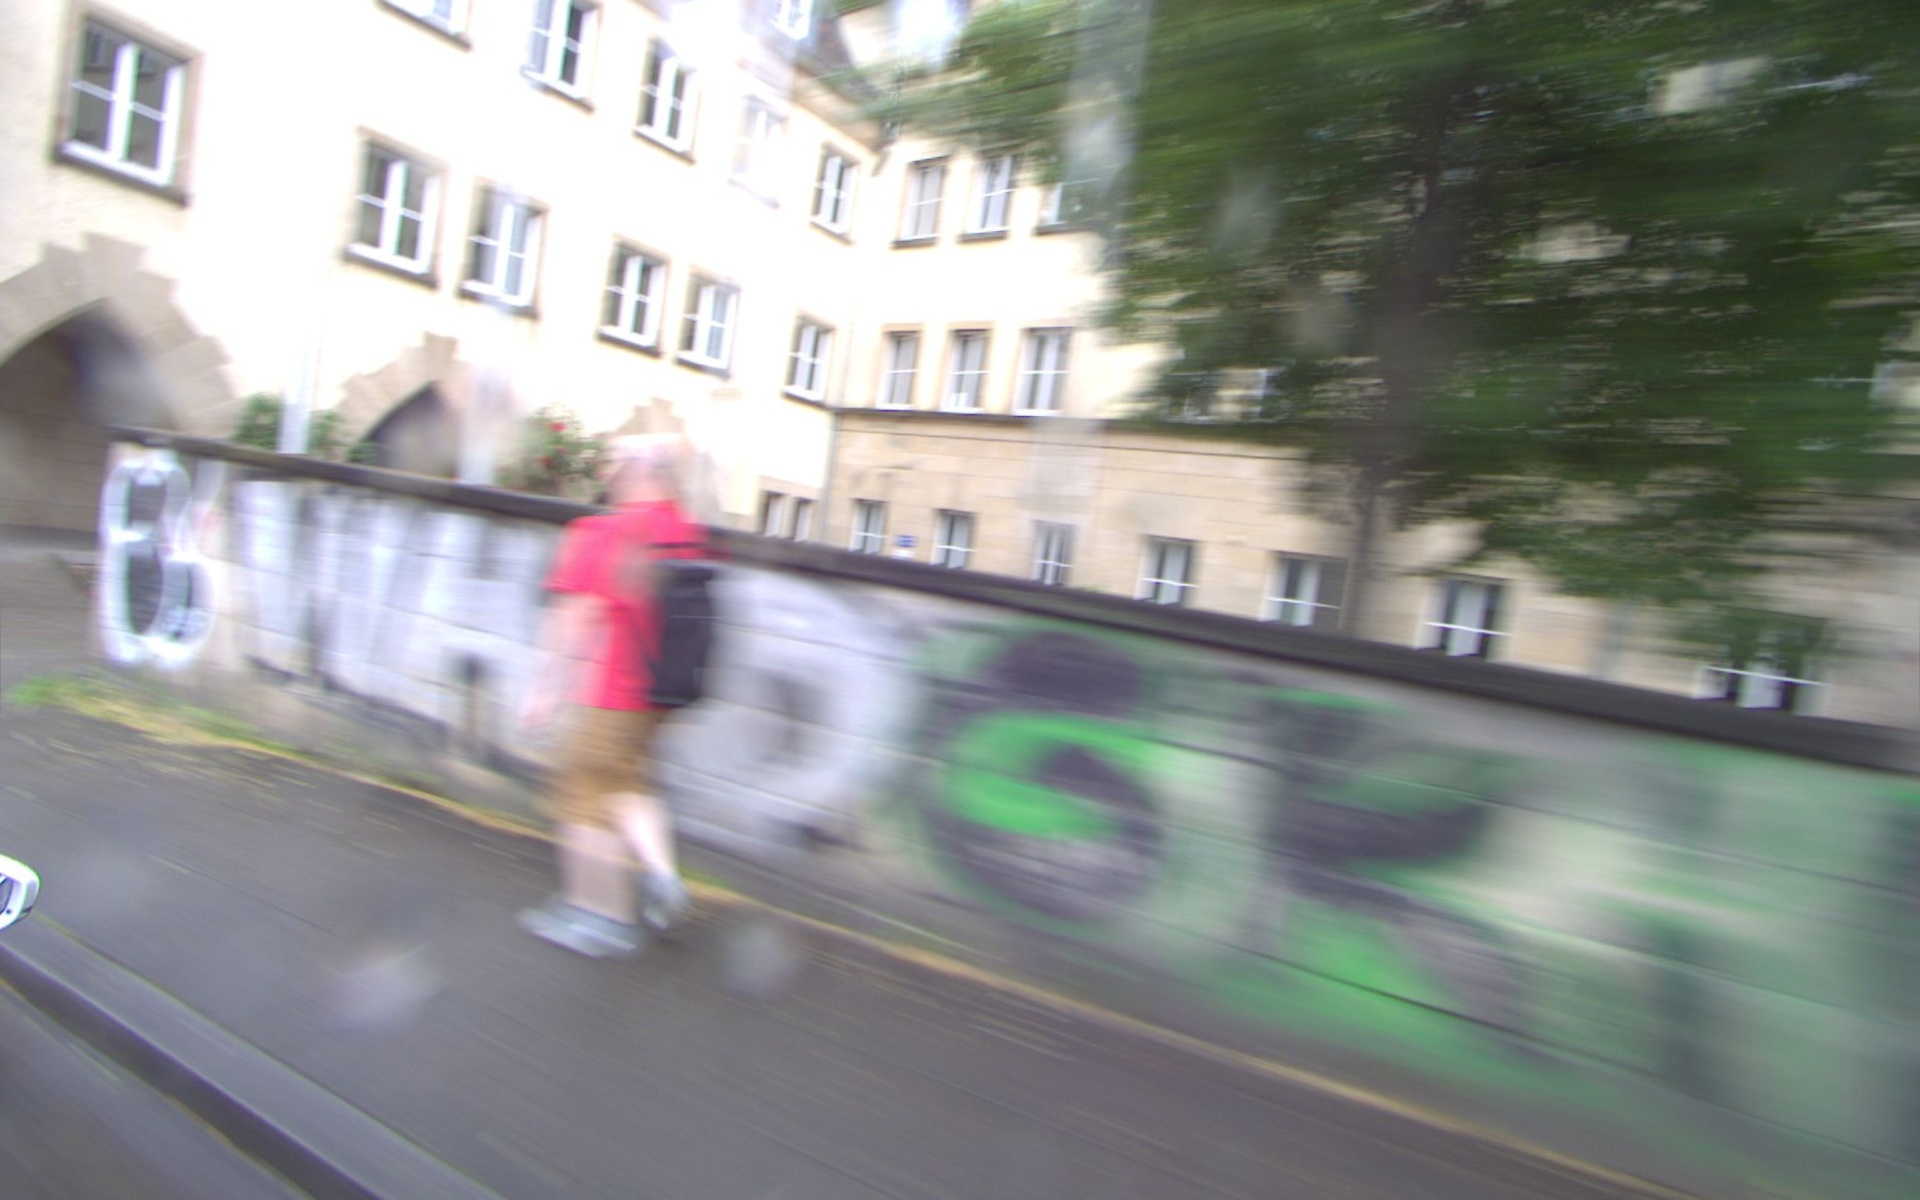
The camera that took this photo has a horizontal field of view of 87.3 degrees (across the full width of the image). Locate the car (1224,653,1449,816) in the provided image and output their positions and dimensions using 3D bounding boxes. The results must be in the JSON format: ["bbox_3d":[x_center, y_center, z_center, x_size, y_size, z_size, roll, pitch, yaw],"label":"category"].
[{"bbox_3d":[4.999,1.637,13.020,1.603,1.516,3.935,10,2,35],"label":"car"}]

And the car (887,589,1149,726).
[{"bbox_3d":[1.065,0.876,15.689,1.767,1.609,4.447,10,3,36],"label":"car"}]

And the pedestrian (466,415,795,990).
[{"bbox_3d":[-1.133,0.301,3.490,0.699,1.743,0.633,7,2,30],"label":"pedestrian"}]
